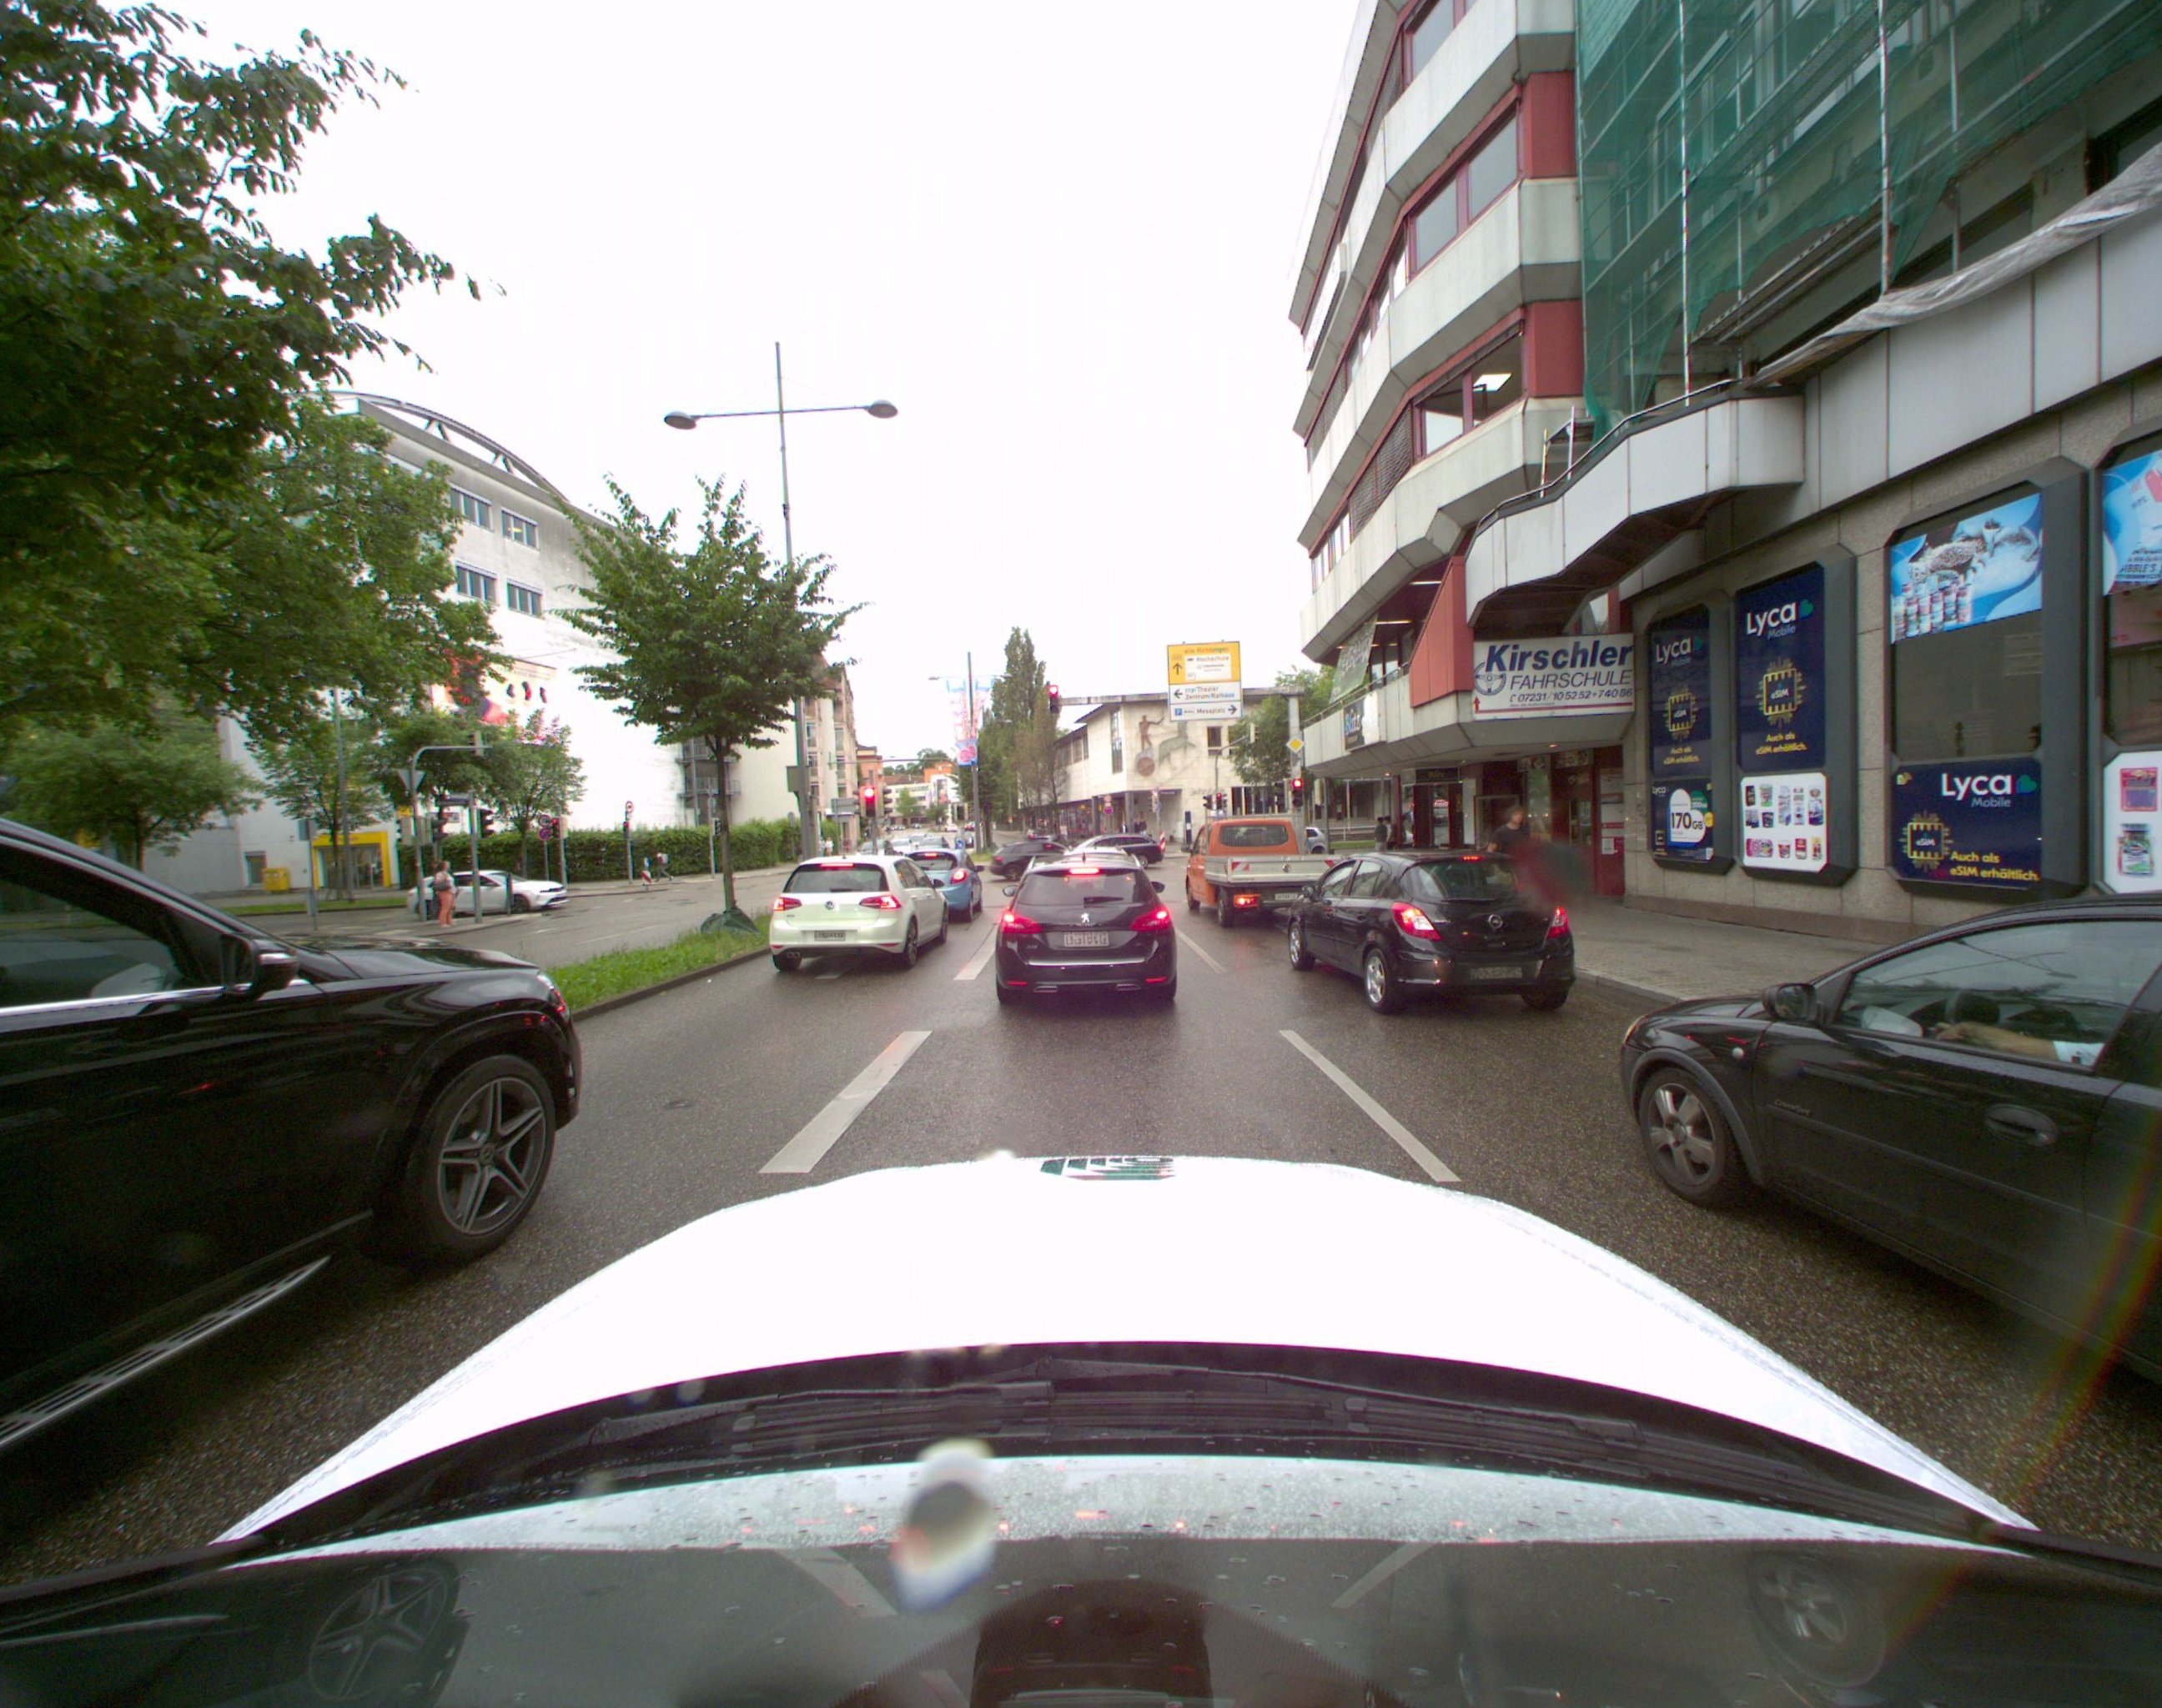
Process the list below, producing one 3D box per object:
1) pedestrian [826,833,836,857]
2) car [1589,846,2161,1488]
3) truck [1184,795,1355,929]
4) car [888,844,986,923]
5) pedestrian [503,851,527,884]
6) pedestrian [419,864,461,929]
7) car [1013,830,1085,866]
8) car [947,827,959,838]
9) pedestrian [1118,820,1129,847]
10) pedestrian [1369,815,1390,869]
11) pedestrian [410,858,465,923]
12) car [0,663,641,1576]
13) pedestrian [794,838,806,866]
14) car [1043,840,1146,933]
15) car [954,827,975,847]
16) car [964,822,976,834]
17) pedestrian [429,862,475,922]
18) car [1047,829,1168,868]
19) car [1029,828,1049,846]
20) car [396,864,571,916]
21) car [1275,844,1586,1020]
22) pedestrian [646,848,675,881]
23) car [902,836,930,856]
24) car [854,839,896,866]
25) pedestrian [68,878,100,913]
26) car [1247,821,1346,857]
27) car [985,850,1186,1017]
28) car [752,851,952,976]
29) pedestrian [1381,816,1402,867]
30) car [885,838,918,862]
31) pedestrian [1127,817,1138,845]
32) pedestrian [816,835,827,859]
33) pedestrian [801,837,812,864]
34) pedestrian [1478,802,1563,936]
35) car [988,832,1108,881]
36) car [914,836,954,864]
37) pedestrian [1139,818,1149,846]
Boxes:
[{"bbox_3d":[-18.364,-0.665,59.894,0.595,1.728,0.655,0,-1,-7],"label":"pedestrian"},{"bbox_3d":[3.274,0.711,2.272,1.600,1.429,3.626,-1,1,3],"label":"car"},{"bbox_3d":[3.433,0.072,15.924,2.170,2.172,5.020,-1,1,0],"label":"truck"},{"bbox_3d":[-3.024,0.555,17.710,1.629,1.486,3.606,-1,1,-3],"label":"car"},{"bbox_3d":[-28.251,0.685,40.661,0.730,1.643,0.638,-1,-1,-6],"label":"pedestrian"},{"bbox_3d":[-17.023,1.124,21.650,0.555,1.661,0.580,-2,2,2],"label":"pedestrian"},{"bbox_3d":[-1.562,-0.353,41.834,1.771,1.454,4.533,-3,3,24],"label":"car"},{"bbox_3d":[-23.026,-3.839,146.904,1.709,1.882,3.979,0,-1,-15],"label":"car"},{"bbox_3d":[2.882,-1.369,55.133,0.633,1.758,0.735,-1,-1,8],"label":"pedestrian"},{"bbox_3d":[9.604,-0.374,26.200,0.424,1.682,0.450,-3,-1,0],"label":"pedestrian"},{"bbox_3d":[-17.865,1.002,22.623,0.921,1.784,0.708,-1,-1,-4],"label":"pedestrian"},{"bbox_3d":[-3.175,0.549,1.500,1.905,1.870,5.073,-1,-1,1],"label":"car"},{"bbox_3d":[-17.451,-0.111,50.635,0.538,1.748,0.745,0,-1,-7],"label":"pedestrian"},{"bbox_3d":[0.280,0.505,15.371,1.690,1.486,3.795,-1,1,2],"label":"car"},{"bbox_3d":[-10.488,-1.510,73.272,1.743,1.640,3.988,0,-1,-9],"label":"car"},{"bbox_3d":[-20.199,-4.666,148.048,1.709,1.936,3.979,0,-1,-15],"label":"car"},{"bbox_3d":[-18.386,1.103,23.813,0.750,1.661,0.628,-2,2,1],"label":"pedestrian"},{"bbox_3d":[1.062,-0.257,33.484,4.722,1.486,1.633,-1,1,-10],"label":"car"},{"bbox_3d":[-4.012,-1.528,76.502,1.722,1.490,4.724,-1,-1,-5],"label":"car"},{"bbox_3d":[-19.435,1.151,26.669,4.292,1.486,1.633,-1,1,-10],"label":"car"},{"bbox_3d":[3.369,0.623,8.685,1.611,1.429,3.840,-1,1,-1],"label":"car"},{"bbox_3d":[-20.742,0.524,40.204,1.059,1.578,0.683,-1,-1,-3],"label":"pedestrian"},{"bbox_3d":[-12.480,-0.619,61.835,1.630,1.486,3.604,-1,1,-4],"label":"car"},{"bbox_3d":[-11.951,-0.133,47.522,1.569,1.486,3.608,-1,1,-1],"label":"car"},{"bbox_3d":[-48.497,2.018,39.607,0.633,1.643,0.735,-1,-1,8],"label":"pedestrian"},{"bbox_3d":[9.375,-0.664,35.533,3.896,1.486,1.617,0,-1,-11],"label":"car"},{"bbox_3d":[0.044,0.693,9.154,1.772,1.429,3.842,-1,1,0],"label":"car"},{"bbox_3d":[-3.039,0.707,11.661,1.772,1.429,3.841,-1,1,0],"label":"car"},{"bbox_3d":[10.133,-0.393,26.582,0.395,1.640,0.504,-3,-1,2],"label":"pedestrian"},{"bbox_3d":[-11.946,-0.301,54.469,1.630,1.486,3.604,-1,1,-4],"label":"car"},{"bbox_3d":[3.571,-1.609,56.548,0.633,1.897,0.735,-1,-1,8],"label":"pedestrian"},{"bbox_3d":[-18.954,-0.479,59.521,0.595,1.728,0.655,0,-1,-7],"label":"pedestrian"},{"bbox_3d":[-17.567,-0.215,52.161,0.538,1.748,0.564,-1,-1,-3],"label":"pedestrian"},{"bbox_3d":[6.320,0.212,11.759,0.736,1.816,0.776,-6,-1,13],"label":"pedestrian"},{"bbox_3d":[-1.246,0.074,29.952,4.226,1.565,1.699,-3,1,-9],"label":"car"},{"bbox_3d":[-8.648,-0.211,48.205,1.739,1.579,3.997,-1,-1,-1],"label":"car"},{"bbox_3d":[4.355,-1.536,56.594,0.633,1.897,0.735,-1,-1,8],"label":"pedestrian"}]
